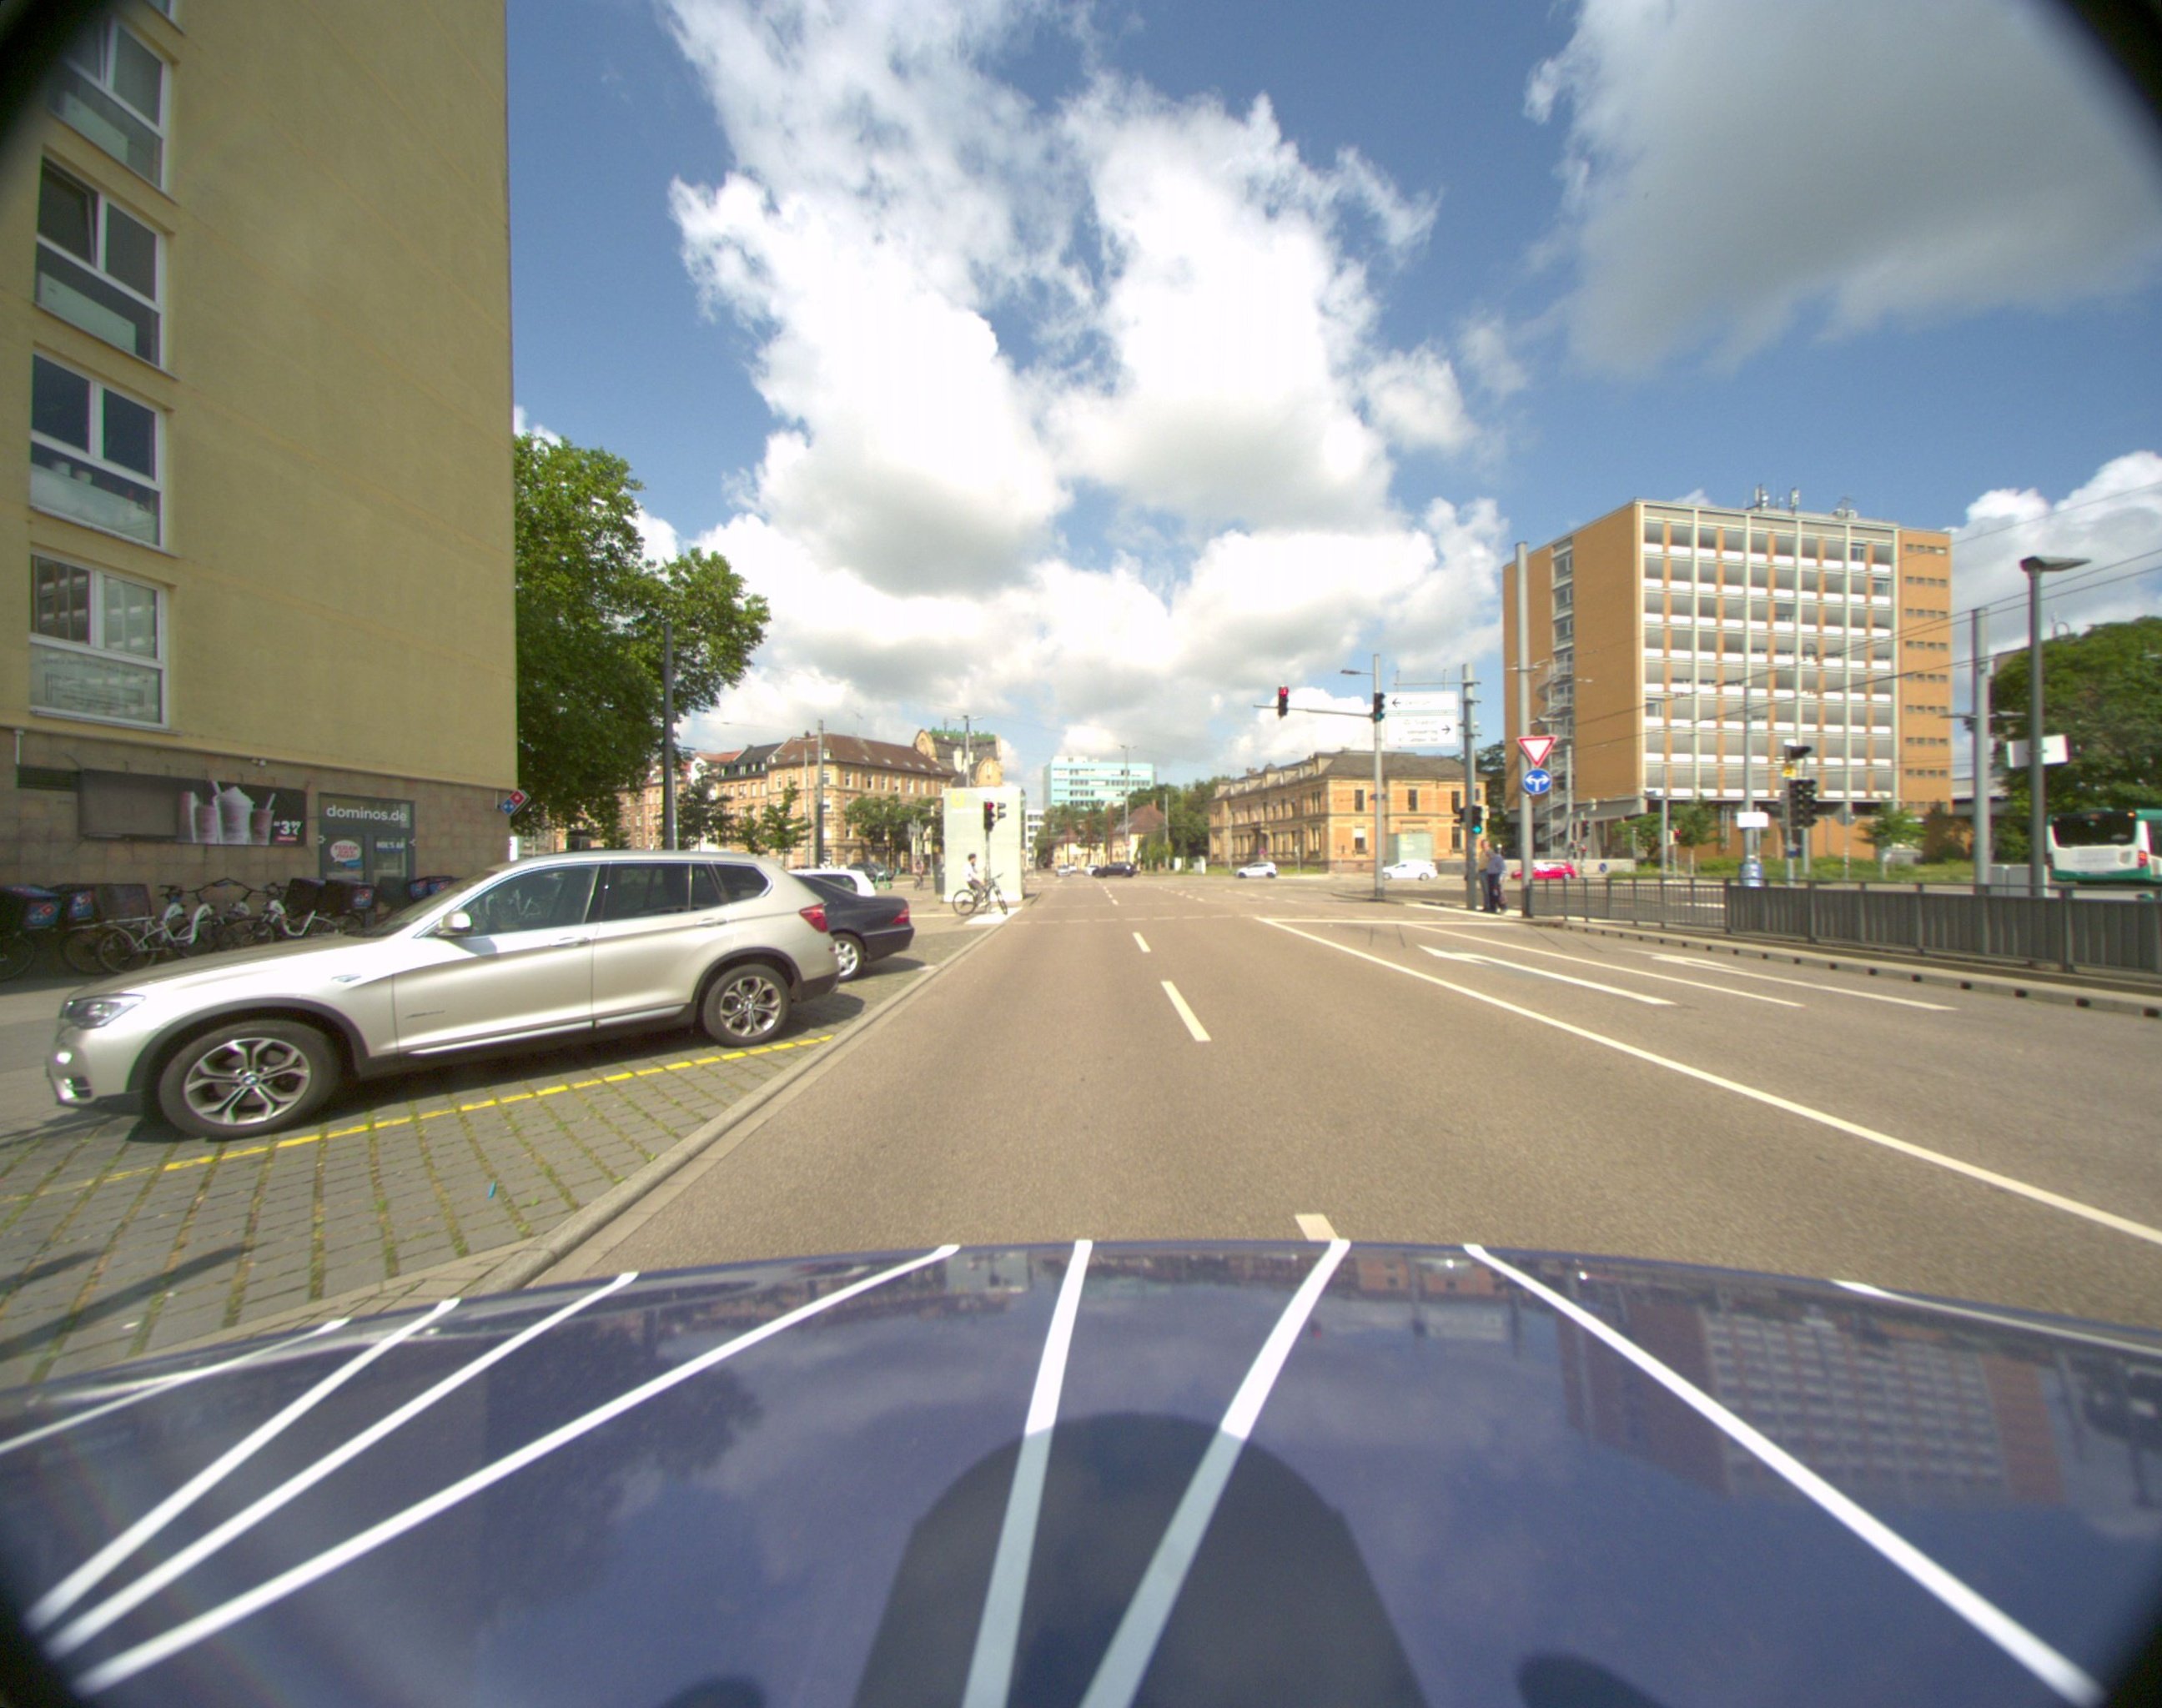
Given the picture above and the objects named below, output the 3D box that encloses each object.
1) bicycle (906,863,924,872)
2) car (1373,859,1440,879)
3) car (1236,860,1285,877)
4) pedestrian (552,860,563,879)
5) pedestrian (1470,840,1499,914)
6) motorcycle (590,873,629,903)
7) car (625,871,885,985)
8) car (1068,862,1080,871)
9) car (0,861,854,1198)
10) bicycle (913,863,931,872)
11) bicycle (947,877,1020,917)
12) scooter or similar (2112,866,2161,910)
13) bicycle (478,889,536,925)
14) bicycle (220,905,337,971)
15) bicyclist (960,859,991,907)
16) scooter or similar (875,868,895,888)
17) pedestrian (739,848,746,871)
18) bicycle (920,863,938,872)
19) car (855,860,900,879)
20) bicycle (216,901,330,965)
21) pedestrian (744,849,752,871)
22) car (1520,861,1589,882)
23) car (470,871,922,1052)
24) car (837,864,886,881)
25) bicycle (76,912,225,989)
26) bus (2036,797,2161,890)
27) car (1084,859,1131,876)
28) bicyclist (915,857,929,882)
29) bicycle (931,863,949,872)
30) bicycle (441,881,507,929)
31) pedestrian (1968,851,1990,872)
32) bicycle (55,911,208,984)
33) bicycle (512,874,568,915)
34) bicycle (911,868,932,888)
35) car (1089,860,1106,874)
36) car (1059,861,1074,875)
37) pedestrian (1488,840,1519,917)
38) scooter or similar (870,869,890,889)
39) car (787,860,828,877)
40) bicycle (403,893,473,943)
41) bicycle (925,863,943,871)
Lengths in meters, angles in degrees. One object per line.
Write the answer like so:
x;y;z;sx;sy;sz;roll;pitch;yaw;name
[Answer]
-21.890;1.801;100.238;2.677;1.159;0.763;-1;0;34;bicycle
25.637;1.196;59.970;4.665;1.420;1.766;-1;-2;18;car
16.003;1.320;67.714;4.069;1.376;1.591;-2;-2;20;car
-55.227;1.595;80.230;0.704;2.002;0.870;0;0;-17;pedestrian
11.095;0.614;20.884;0.427;2.002;0.578;-1;0;-11;pedestrian
-18.048;1.269;29.038;0.976;1.024;2.288;-2;1;-38;motorcycle
-5.231;1.064;12.373;3.503;1.445;1.774;-2;1;-40;car
-1.637;3.029;178.011;2.001;2.001;3.996;0;-2;-15;car
-4.438;0.902;6.026;4.605;1.637;2.056;0;0;-42;car
-21.155;1.759;101.165;2.677;1.158;0.763;-2;-2;34;bicycle
-2.764;1.211;21.370;2.095;1.099;0.545;-2;-2;28;bicycle
29.116;0.920;20.577;0.813;1.160;1.167;0;0;-9;scooter or similar
-13.334;1.216;17.677;0.293;0.734;1.452;0;0;-2;bicycle
-12.887;1.322;12.258;0.293;0.917;1.464;0;0;2;bicycle
-2.979;0.829;21.444;0.782;1.327;0.396;-2;-2;30;bicyclist
-11.718;1.463;45.492;1.067;1.189;0.381;1;-2;-36;scooter or similar
-47.377;0.805;106.338;0.885;3.101;0.669;-2;-2;42;pedestrian
-20.459;1.798;102.020;2.677;1.159;0.763;-1;0;35;bicycle
-17.844;1.400;66.527;3.726;1.564;2.005;-2;-3;38;car
-13.395;1.287;12.648;0.293;0.917;1.464;-1;0;2;bicycle
-46.837;0.795;106.967;0.885;3.057;0.729;-2;-2;42;pedestrian
35.388;1.314;56.887;4.057;1.458;1.649;-1;-2;15;car
-4.563;1.097;9.415;4.608;1.451;1.934;-3;0;-39;car
-18.295;1.500;63.272;3.929;1.368;1.875;-1;0;36;car
-12.827;1.302;10.534;0.293;0.917;1.464;-1;-1;-1;bicycle
46.148;-0.448;33.720;12.397;3.599;2.909;0;0;-30;bus
2.538;1.297;73.082;4.203;1.566;1.649;-1;-2;20;car
-9.396;0.917;44.924;0.655;1.429;0.743;0;0;1;bicyclist
-19.286;1.811;103.991;2.677;1.159;0.763;-1;0;35;bicycle
-12.636;1.043;15.861;0.293;0.917;1.611;0;-1;-8;bicycle
68.302;0.571;57.778;0.770;1.569;0.955;-1;0;-29;pedestrian
-13.393;1.291;10.780;0.293;0.917;1.465;-1;-2;2;bicycle
-12.645;0.931;17.804;0.293;0.878;1.464;-1;1;-2;bicycle
-9.393;1.416;44.793;0.663;1.114;2.332;0;0;1;bicycle
1.958;1.625;92.791;1.956;1.586;4.508;-1;-2;-1;car
-1.800;1.781;96.150;1.837;1.586;4.001;-1;-2;-1;car
11.147;0.642;20.048;0.503;2.002;0.515;-1;0;-11;pedestrian
-12.144;1.492;45.923;0.380;1.189;1.067;-2;-3;44;scooter or similar
-24.130;1.311;66.989;3.646;1.460;1.695;-2;-3;38;car
-13.306;1.313;15.763;0.293;0.917;1.452;-1;0;-4;bicycle
-19.954;1.767;102.997;2.677;1.159;0.763;0;0;34;bicycle
